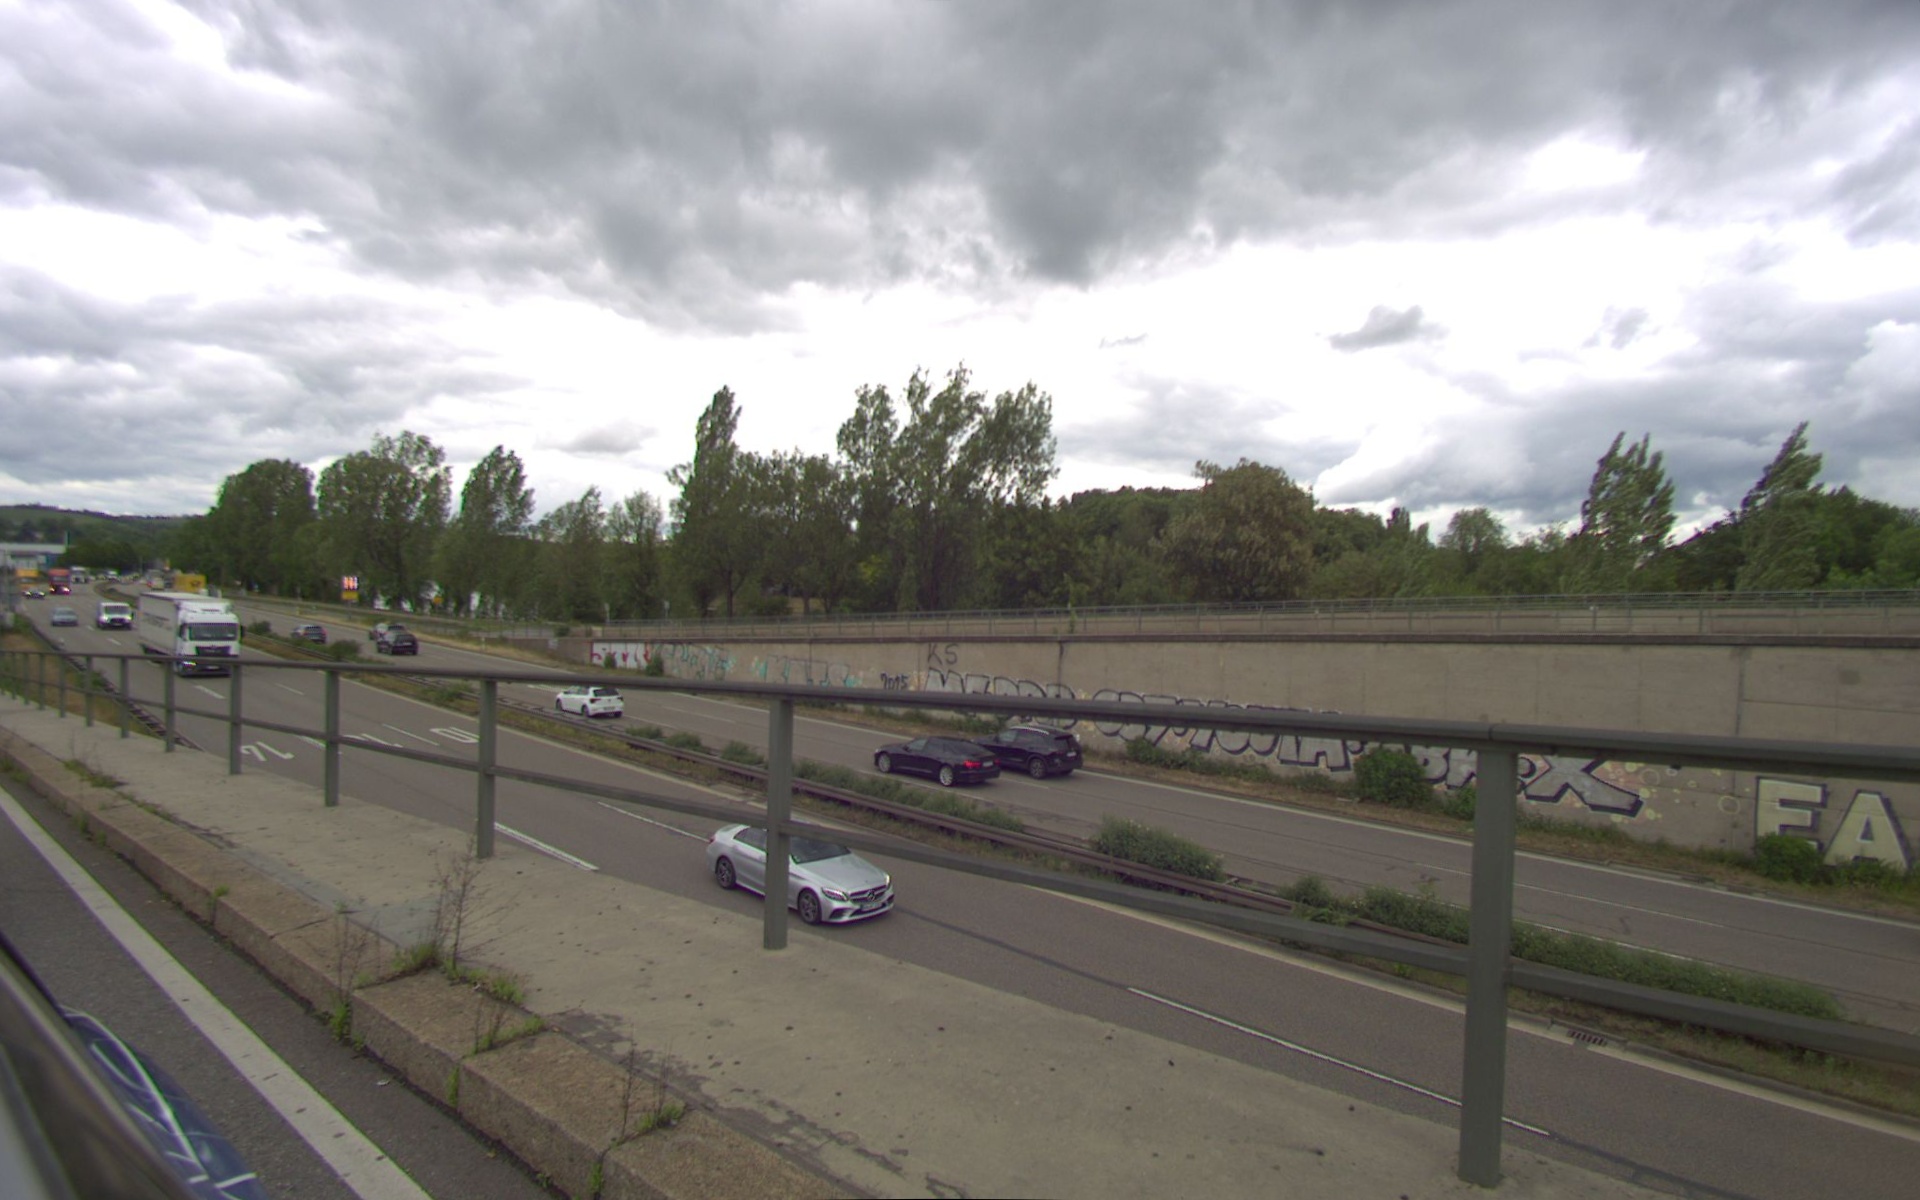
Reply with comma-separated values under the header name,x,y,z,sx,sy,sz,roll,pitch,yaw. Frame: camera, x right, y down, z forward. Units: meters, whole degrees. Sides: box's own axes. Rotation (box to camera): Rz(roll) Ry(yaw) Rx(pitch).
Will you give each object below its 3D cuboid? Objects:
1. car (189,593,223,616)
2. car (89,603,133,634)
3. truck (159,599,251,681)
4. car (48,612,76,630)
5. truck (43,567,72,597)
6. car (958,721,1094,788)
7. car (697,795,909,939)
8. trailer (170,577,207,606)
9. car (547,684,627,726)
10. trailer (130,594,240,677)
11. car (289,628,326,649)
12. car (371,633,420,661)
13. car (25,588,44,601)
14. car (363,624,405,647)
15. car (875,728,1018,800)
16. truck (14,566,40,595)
name,x,y,z,sx,sy,sz,roll,pitch,yaw
car,-94.726,0.530,127.135,6.101,2.613,2.144,2,0,42
car,-72.486,1.549,86.364,6.502,2.259,2.076,3,0,43
truck,-41.845,2.142,56.035,5.875,4.140,2.970,2,0,43
car,-77.949,1.794,87.822,3.538,1.383,1.492,3,0,43
truck,-152.283,-3.016,170.755,9.922,4.774,2.717,2,-2,44
car,2.323,5.461,36.217,4.577,1.638,1.973,2,-1,41
car,-3.250,5.214,20.382,4.439,1.582,1.830,3,2,43
trailer,-126.309,-1.424,165.589,3.203,4.294,13.691,2,0,-44
car,-16.875,4.705,45.762,3.897,1.505,1.755,2,-1,42
trailer,-46.626,1.948,60.616,13.992,4.140,2.970,2,0,44
car,-50.742,2.971,78.679,1.694,1.464,3.653,1,1,-45
car,-40.557,3.326,72.657,4.183,1.731,1.861,2,0,43
car,-128.704,-0.759,140.726,4.002,1.679,1.786,3,1,44
car,-47.982,2.951,84.305,4.636,1.664,1.838,2,0,45
car,-0.506,5.402,33.856,4.577,1.638,1.973,2,-1,41
truck,-146.181,-3.092,158.542,8.175,4.153,2.382,3,1,44
